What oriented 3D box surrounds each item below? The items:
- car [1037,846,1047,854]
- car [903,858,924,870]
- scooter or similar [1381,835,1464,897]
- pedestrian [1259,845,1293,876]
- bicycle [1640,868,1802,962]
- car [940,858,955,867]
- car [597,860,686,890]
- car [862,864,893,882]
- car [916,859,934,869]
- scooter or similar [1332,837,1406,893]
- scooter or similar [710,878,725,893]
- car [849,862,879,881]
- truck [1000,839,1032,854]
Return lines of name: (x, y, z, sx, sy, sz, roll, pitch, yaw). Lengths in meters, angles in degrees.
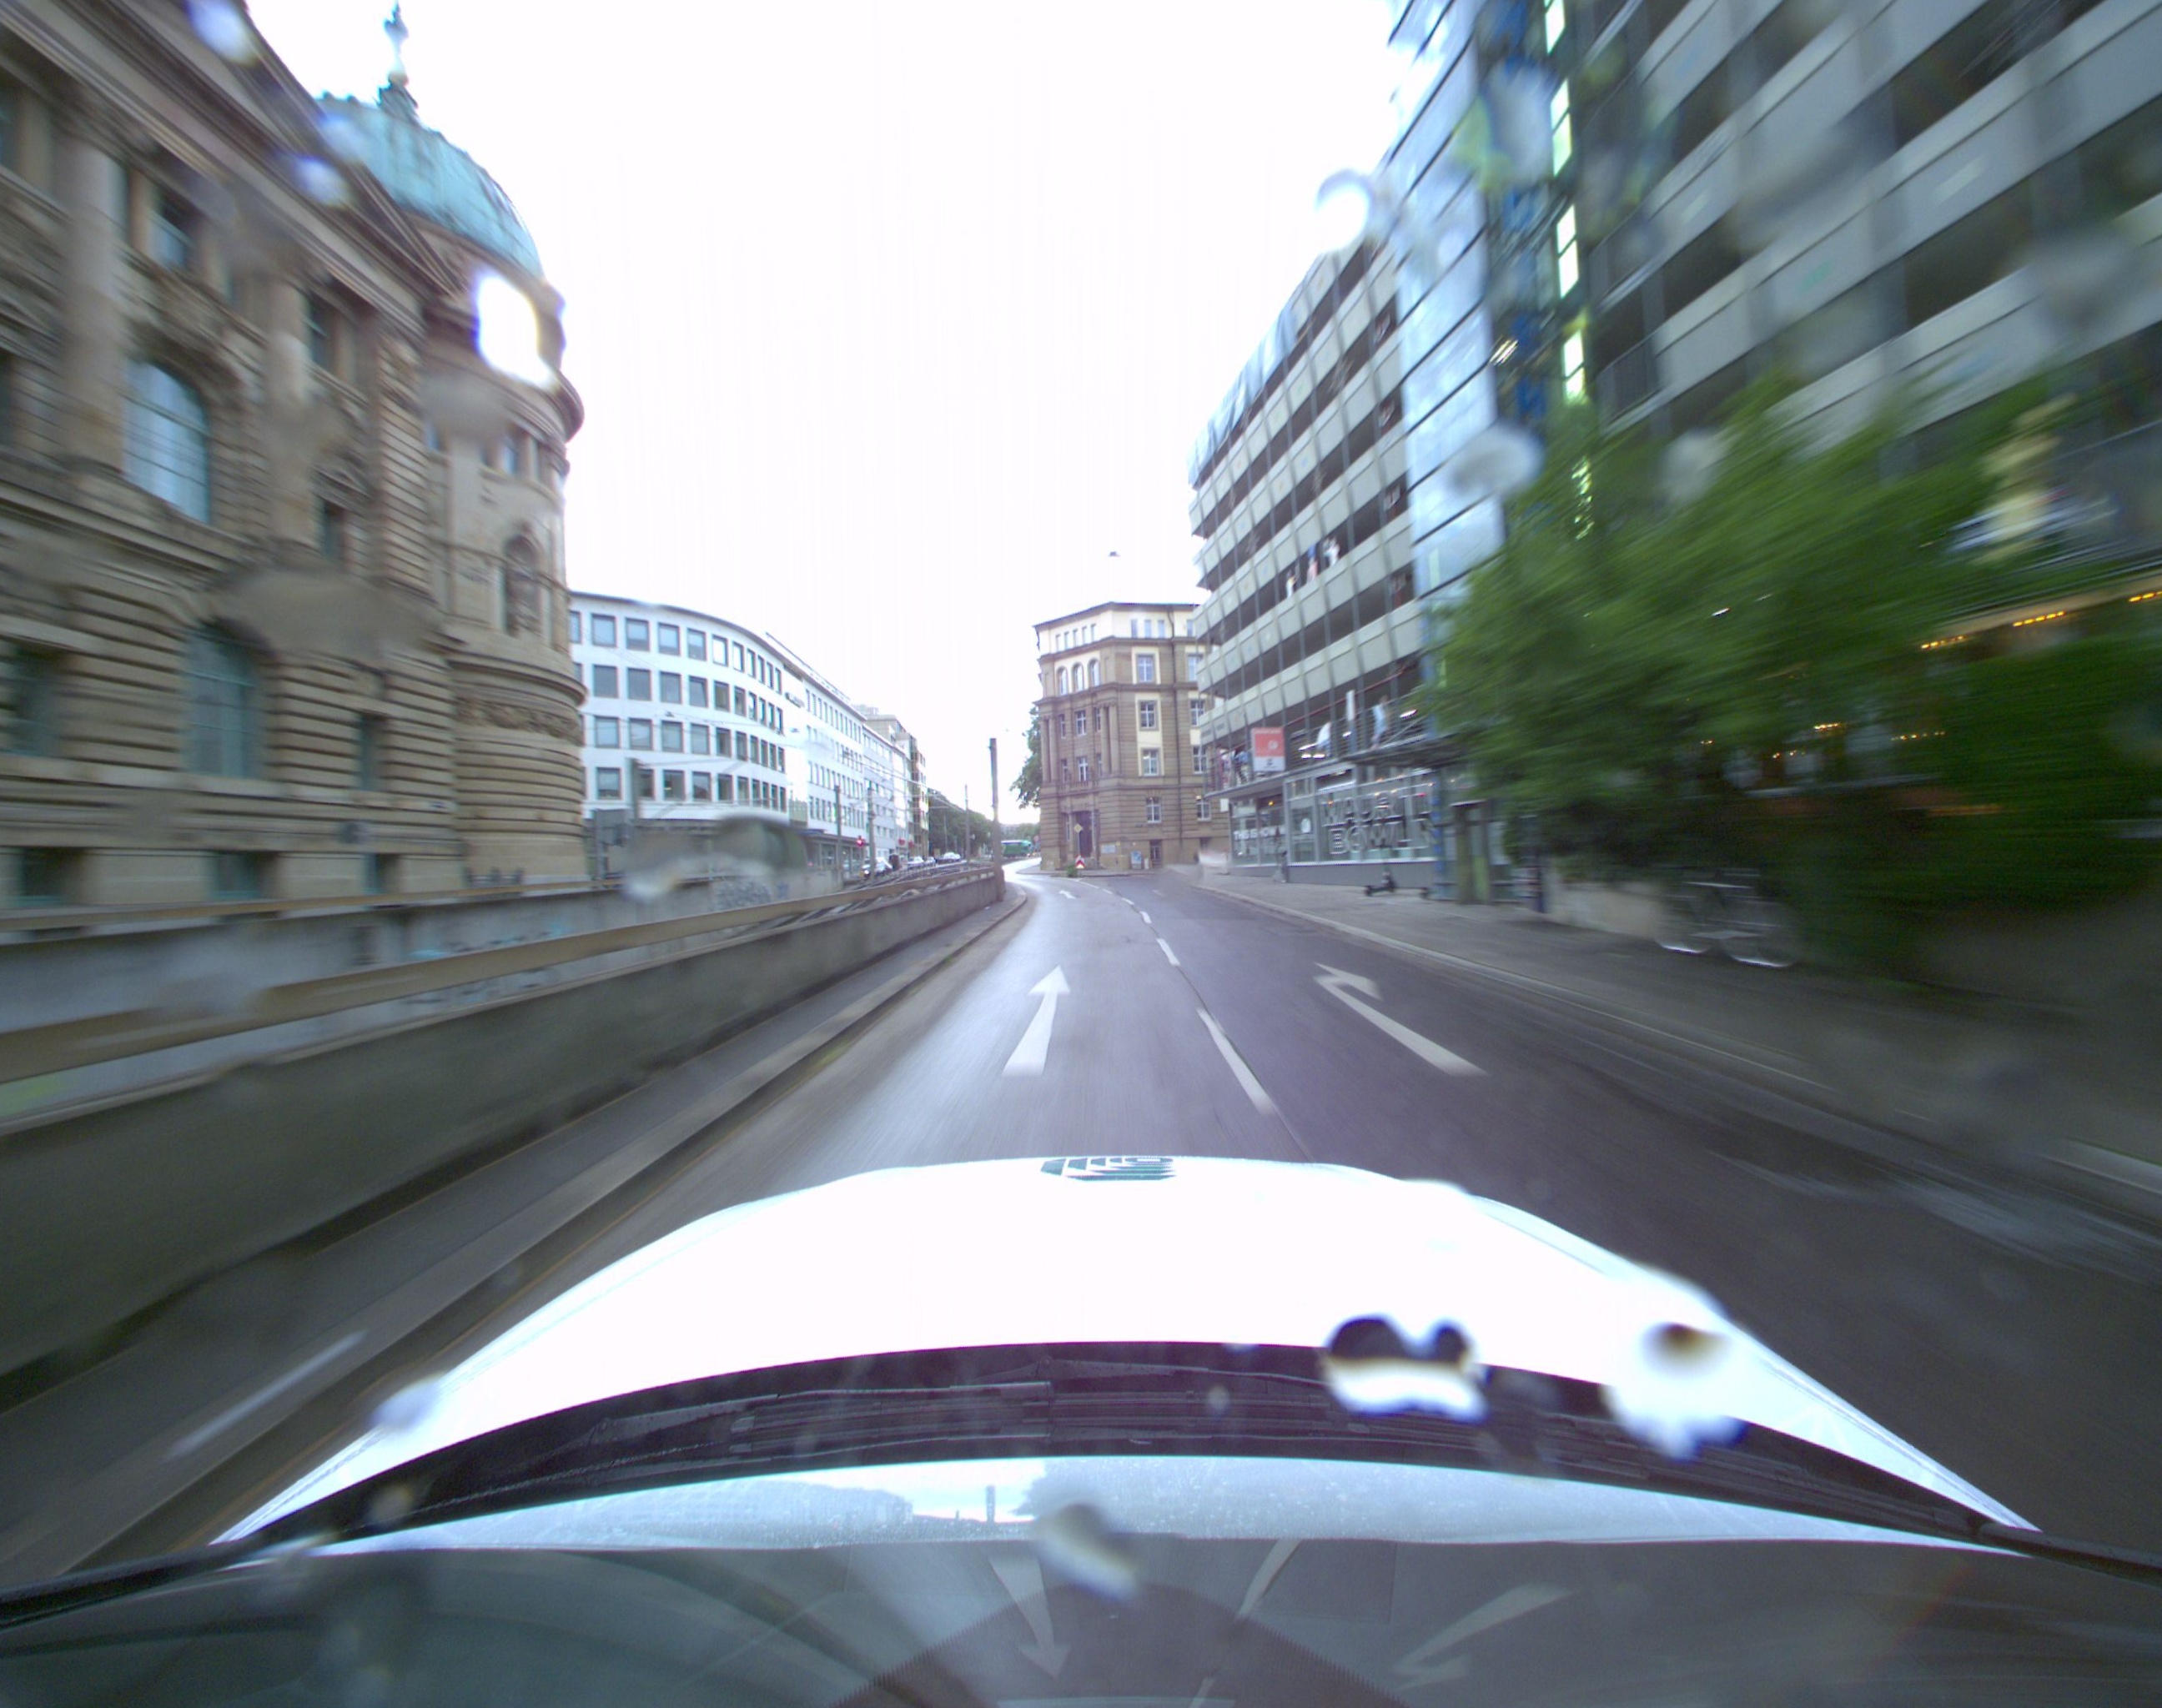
car: (-7.956, -0.776, 165.729, 1.989, 1.662, 3.995, -2, 0, -3)
car: (-21.964, 1.317, 106.966, 1.989, 1.456, 4.306, -2, 0, -3)
scooter or similar: (7.716, 0.254, 18.385, 1.642, 1.267, 0.737, -4, 1, -23)
pedestrian: (7.375, 0.254, 30.799, 0.753, 1.123, 1.242, -2, 0, -12)
bicycle: (6.938, 0.618, 8.939, 0.468, 0.885, 1.691, -3, 0, 2)
car: (-22.350, 1.461, 136.050, 1.989, 1.456, 4.306, -2, 0, -3)
car: (-28.383, 1.322, 52.702, 4.805, 1.522, 1.656, -4, 0, -39)
car: (-18.327, 1.678, 73.368, 1.989, 1.527, 3.658, -2, 0, -3)
car: (-22.814, 1.431, 119.307, 1.989, 1.456, 4.306, -2, 0, -3)
scooter or similar: (7.227, 0.259, 20.428, 1.642, 1.267, 0.737, -4, 1, -23)
scooter or similar: (-25.470, 2.223, 57.069, 0.815, 1.044, 0.550, -2, 0, 12)
car: (-22.428, 1.788, 84.417, 1.989, 1.883, 4.921, -2, 0, -3)
truck: (-14.854, -1.690, 185.957, 7.826, 3.387, 2.013, 0, 0, 38)
